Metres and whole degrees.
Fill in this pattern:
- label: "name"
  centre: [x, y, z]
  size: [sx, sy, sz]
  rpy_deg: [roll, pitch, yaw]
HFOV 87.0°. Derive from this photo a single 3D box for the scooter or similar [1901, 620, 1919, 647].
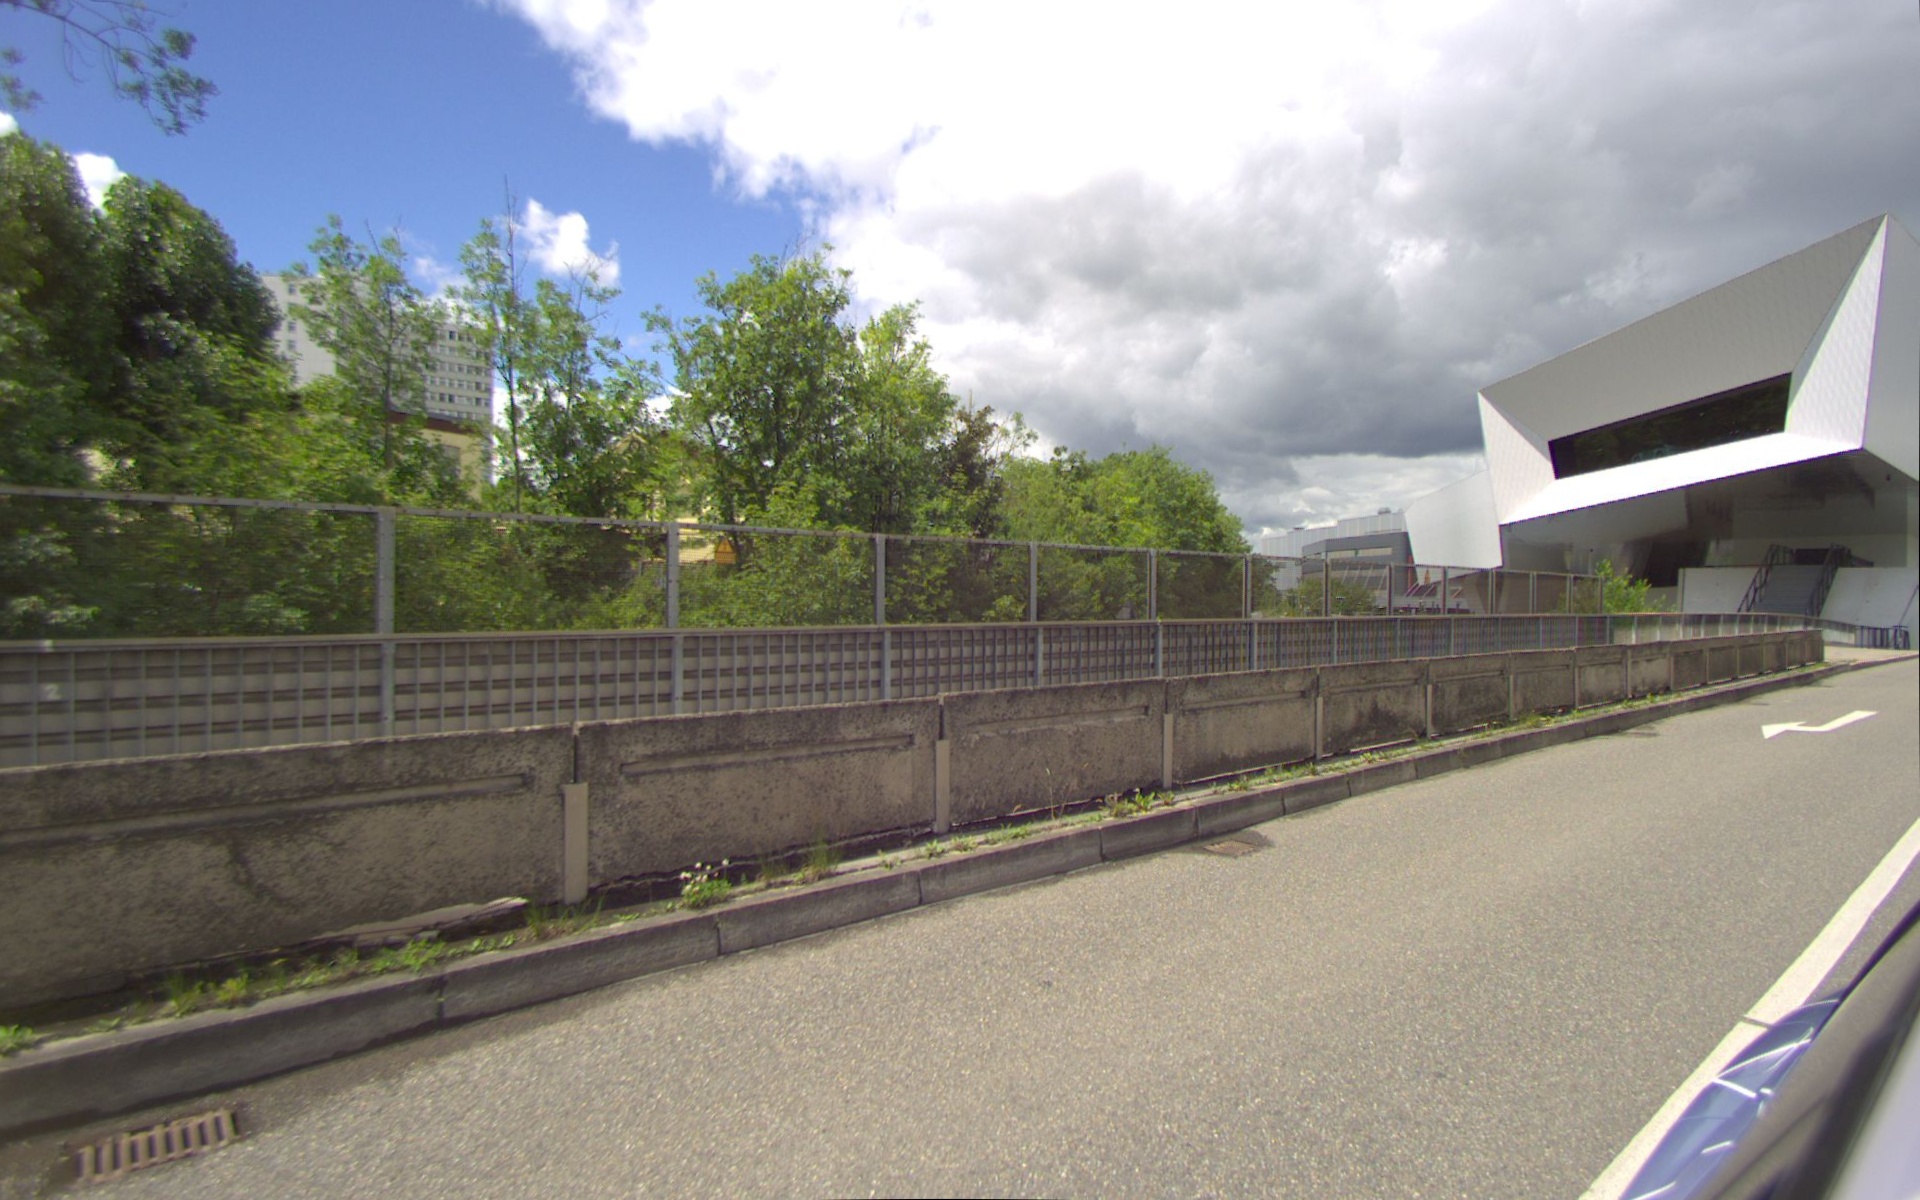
- label: "scooter or similar"
  centre: [44.553, 1.559, 47.290]
  size: [1.824, 1.229, 0.654]
  rpy_deg: [2, 0, -41]
